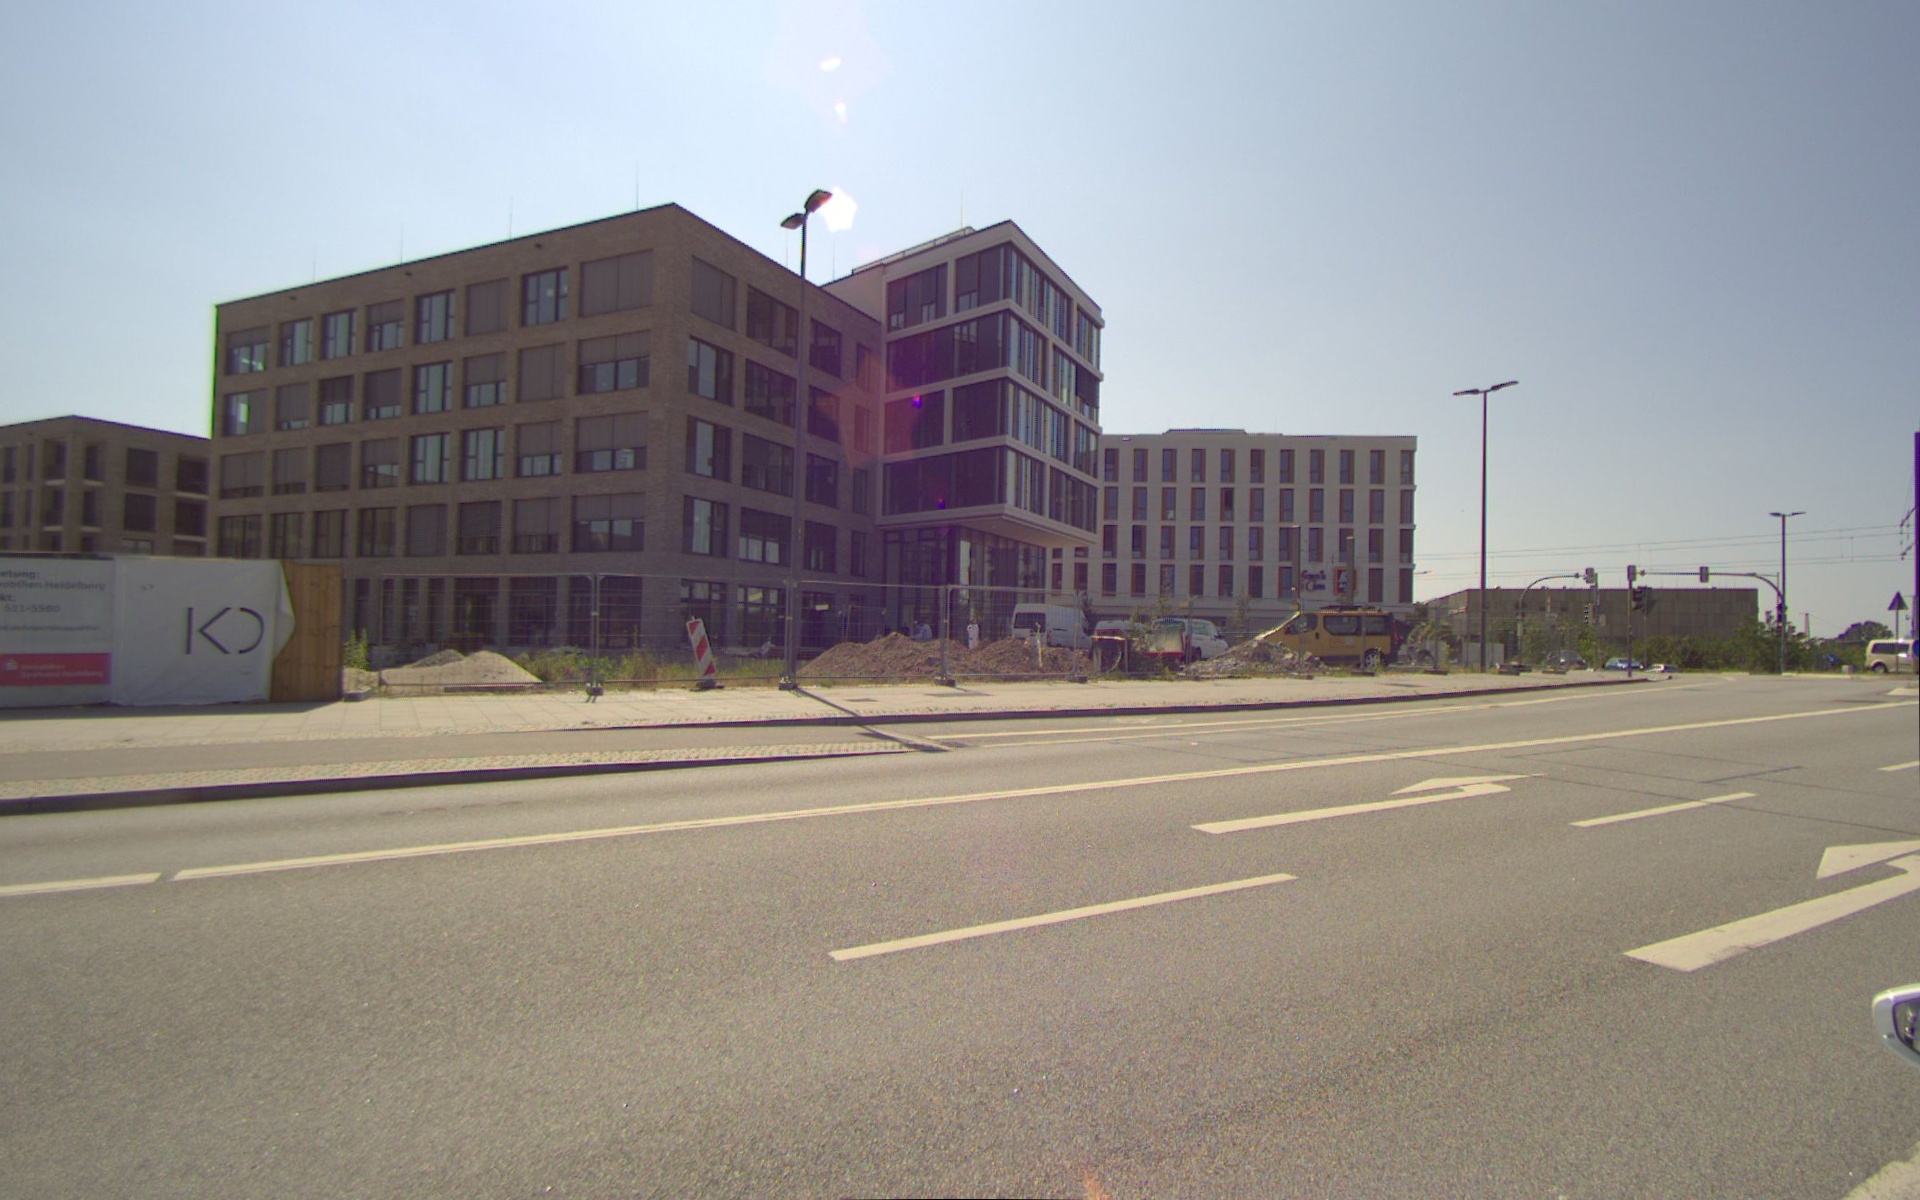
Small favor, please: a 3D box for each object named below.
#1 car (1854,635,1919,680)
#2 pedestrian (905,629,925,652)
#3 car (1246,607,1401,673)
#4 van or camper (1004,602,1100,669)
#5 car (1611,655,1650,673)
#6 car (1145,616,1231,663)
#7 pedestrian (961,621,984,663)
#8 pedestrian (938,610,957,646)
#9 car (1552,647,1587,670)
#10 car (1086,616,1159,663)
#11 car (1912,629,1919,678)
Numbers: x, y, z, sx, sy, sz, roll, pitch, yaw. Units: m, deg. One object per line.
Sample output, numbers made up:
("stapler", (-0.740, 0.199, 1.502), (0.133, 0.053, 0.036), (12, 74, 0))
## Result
("car", (46.134, 2.801, 48.164), (1.964, 2.040, 4.710), (2, 0, -9))
("pedestrian", (-2.105, 1.889, 47.441), (0.734, 1.041, 0.699), (2, 0, 16))
("car", (12.096, 1.286, 33.710), (4.533, 1.988, 1.991), (2, 0, 9))
("van or camper", (4.194, 1.539, 44.977), (2.273, 2.772, 4.975), (2, 0, 32))
("car", (56.389, 5.387, 84.523), (1.787, 1.348, 4.000), (2, -2, 20))
("car", (9.644, 1.631, 42.168), (1.841, 1.797, 4.637), (2, 0, 36))
("pedestrian", (0.527, 1.756, 42.386), (0.734, 1.741, 0.699), (2, 0, 16))
("pedestrian", (-0.614, 1.362, 48.939), (0.734, 1.741, 0.699), (2, 0, 16))
("car", (44.366, 4.258, 73.181), (1.646, 1.496, 3.405), (0, -1, 22))
("car", (7.104, 1.682, 43.660), (1.760, 1.881, 3.841), (2, 0, 32))
("car", (48.827, 2.646, 47.800), (1.752, 2.407, 5.006), (2, -1, -11))
